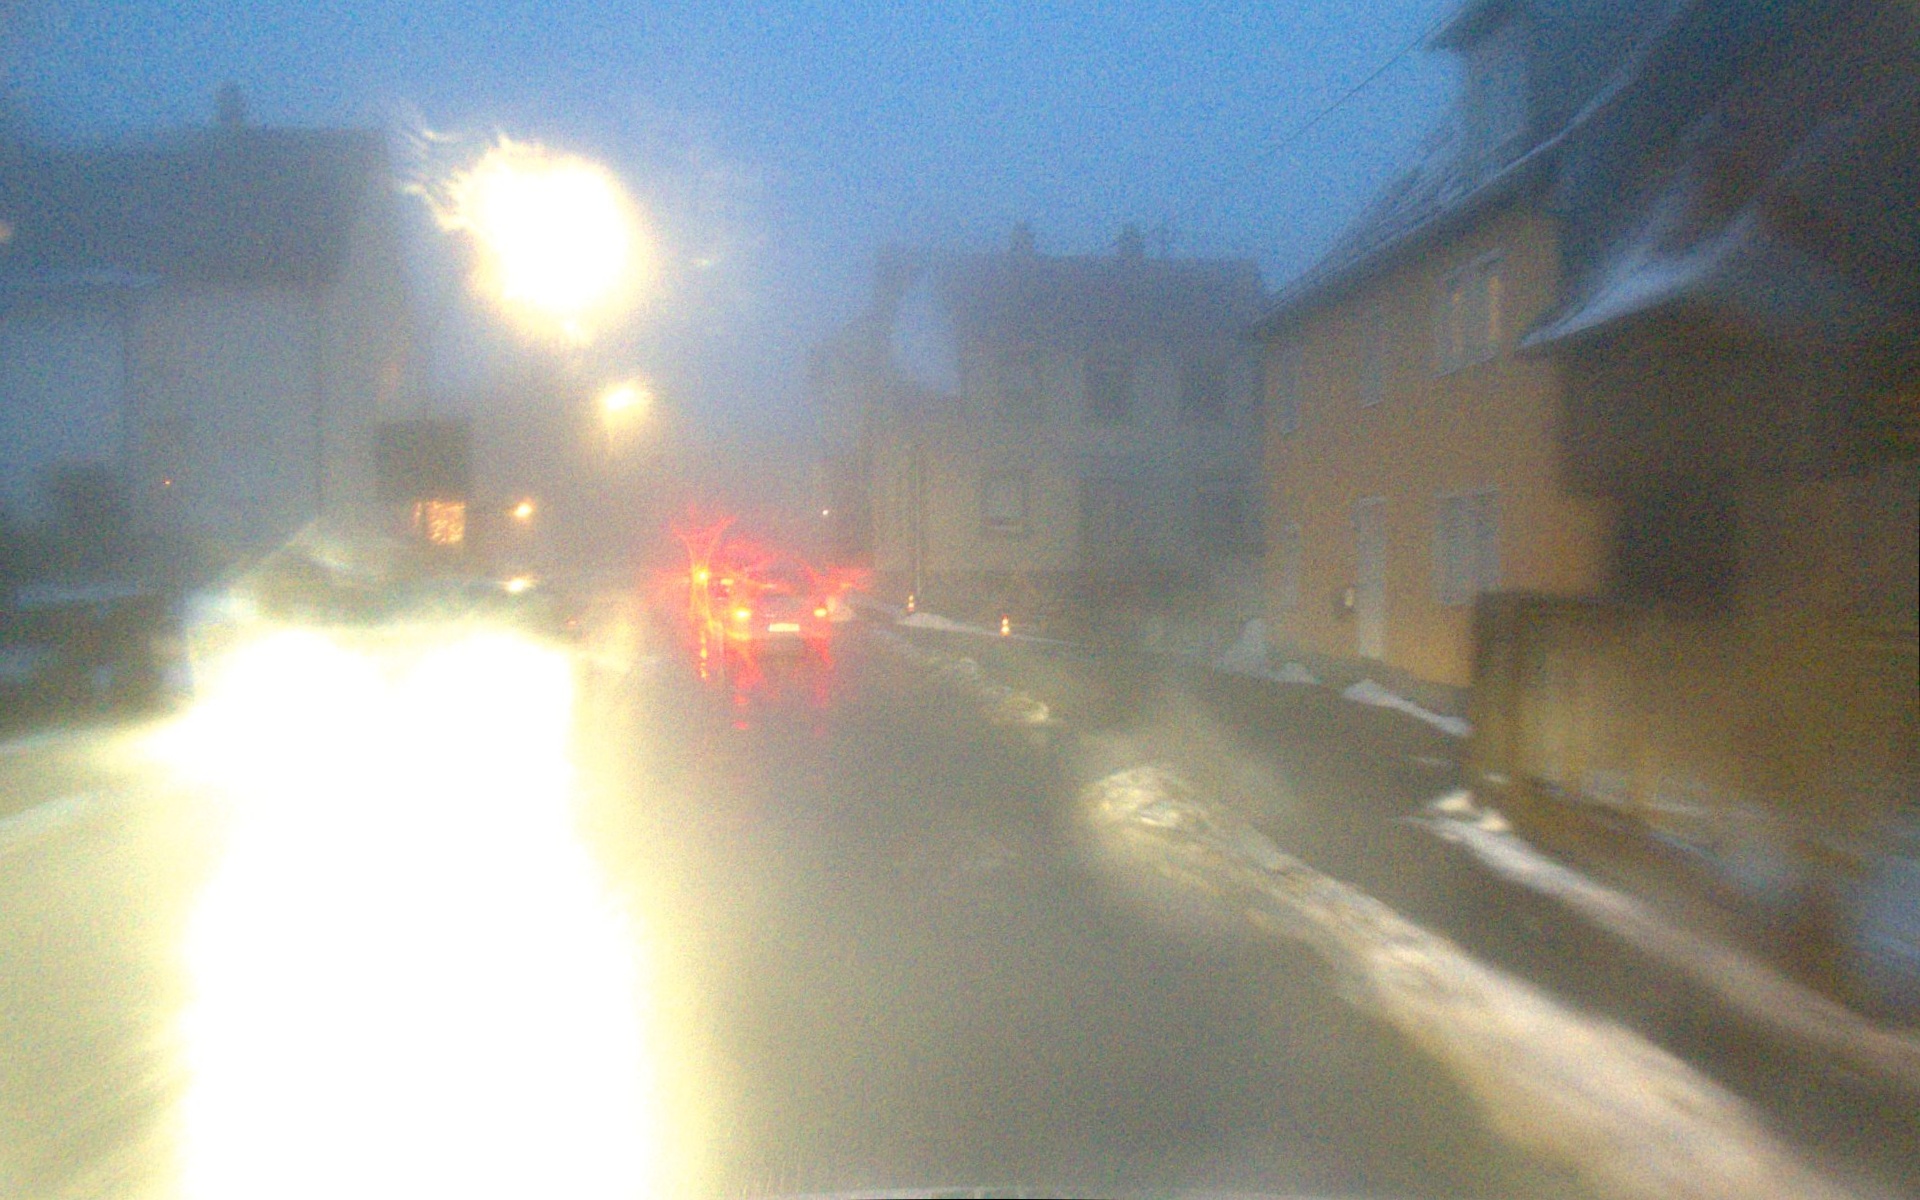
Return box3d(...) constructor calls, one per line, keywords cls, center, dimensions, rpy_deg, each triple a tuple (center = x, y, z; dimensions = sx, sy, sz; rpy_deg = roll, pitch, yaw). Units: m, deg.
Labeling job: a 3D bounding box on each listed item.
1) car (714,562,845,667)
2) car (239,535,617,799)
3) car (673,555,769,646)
box3d(cls="car", center=(-3.023, 0.273, 27.847), dimensions=(1.955, 1.534, 3.994), rpy_deg=(3, -2, -6))
box3d(cls="car", center=(-3.943, 0.395, 13.067), dimensions=(1.804, 1.716, 4.475), rpy_deg=(0, 1, -4))
box3d(cls="car", center=(-5.878, 0.063, 41.139), dimensions=(1.954, 2.049, 3.996), rpy_deg=(3, -2, -4))
